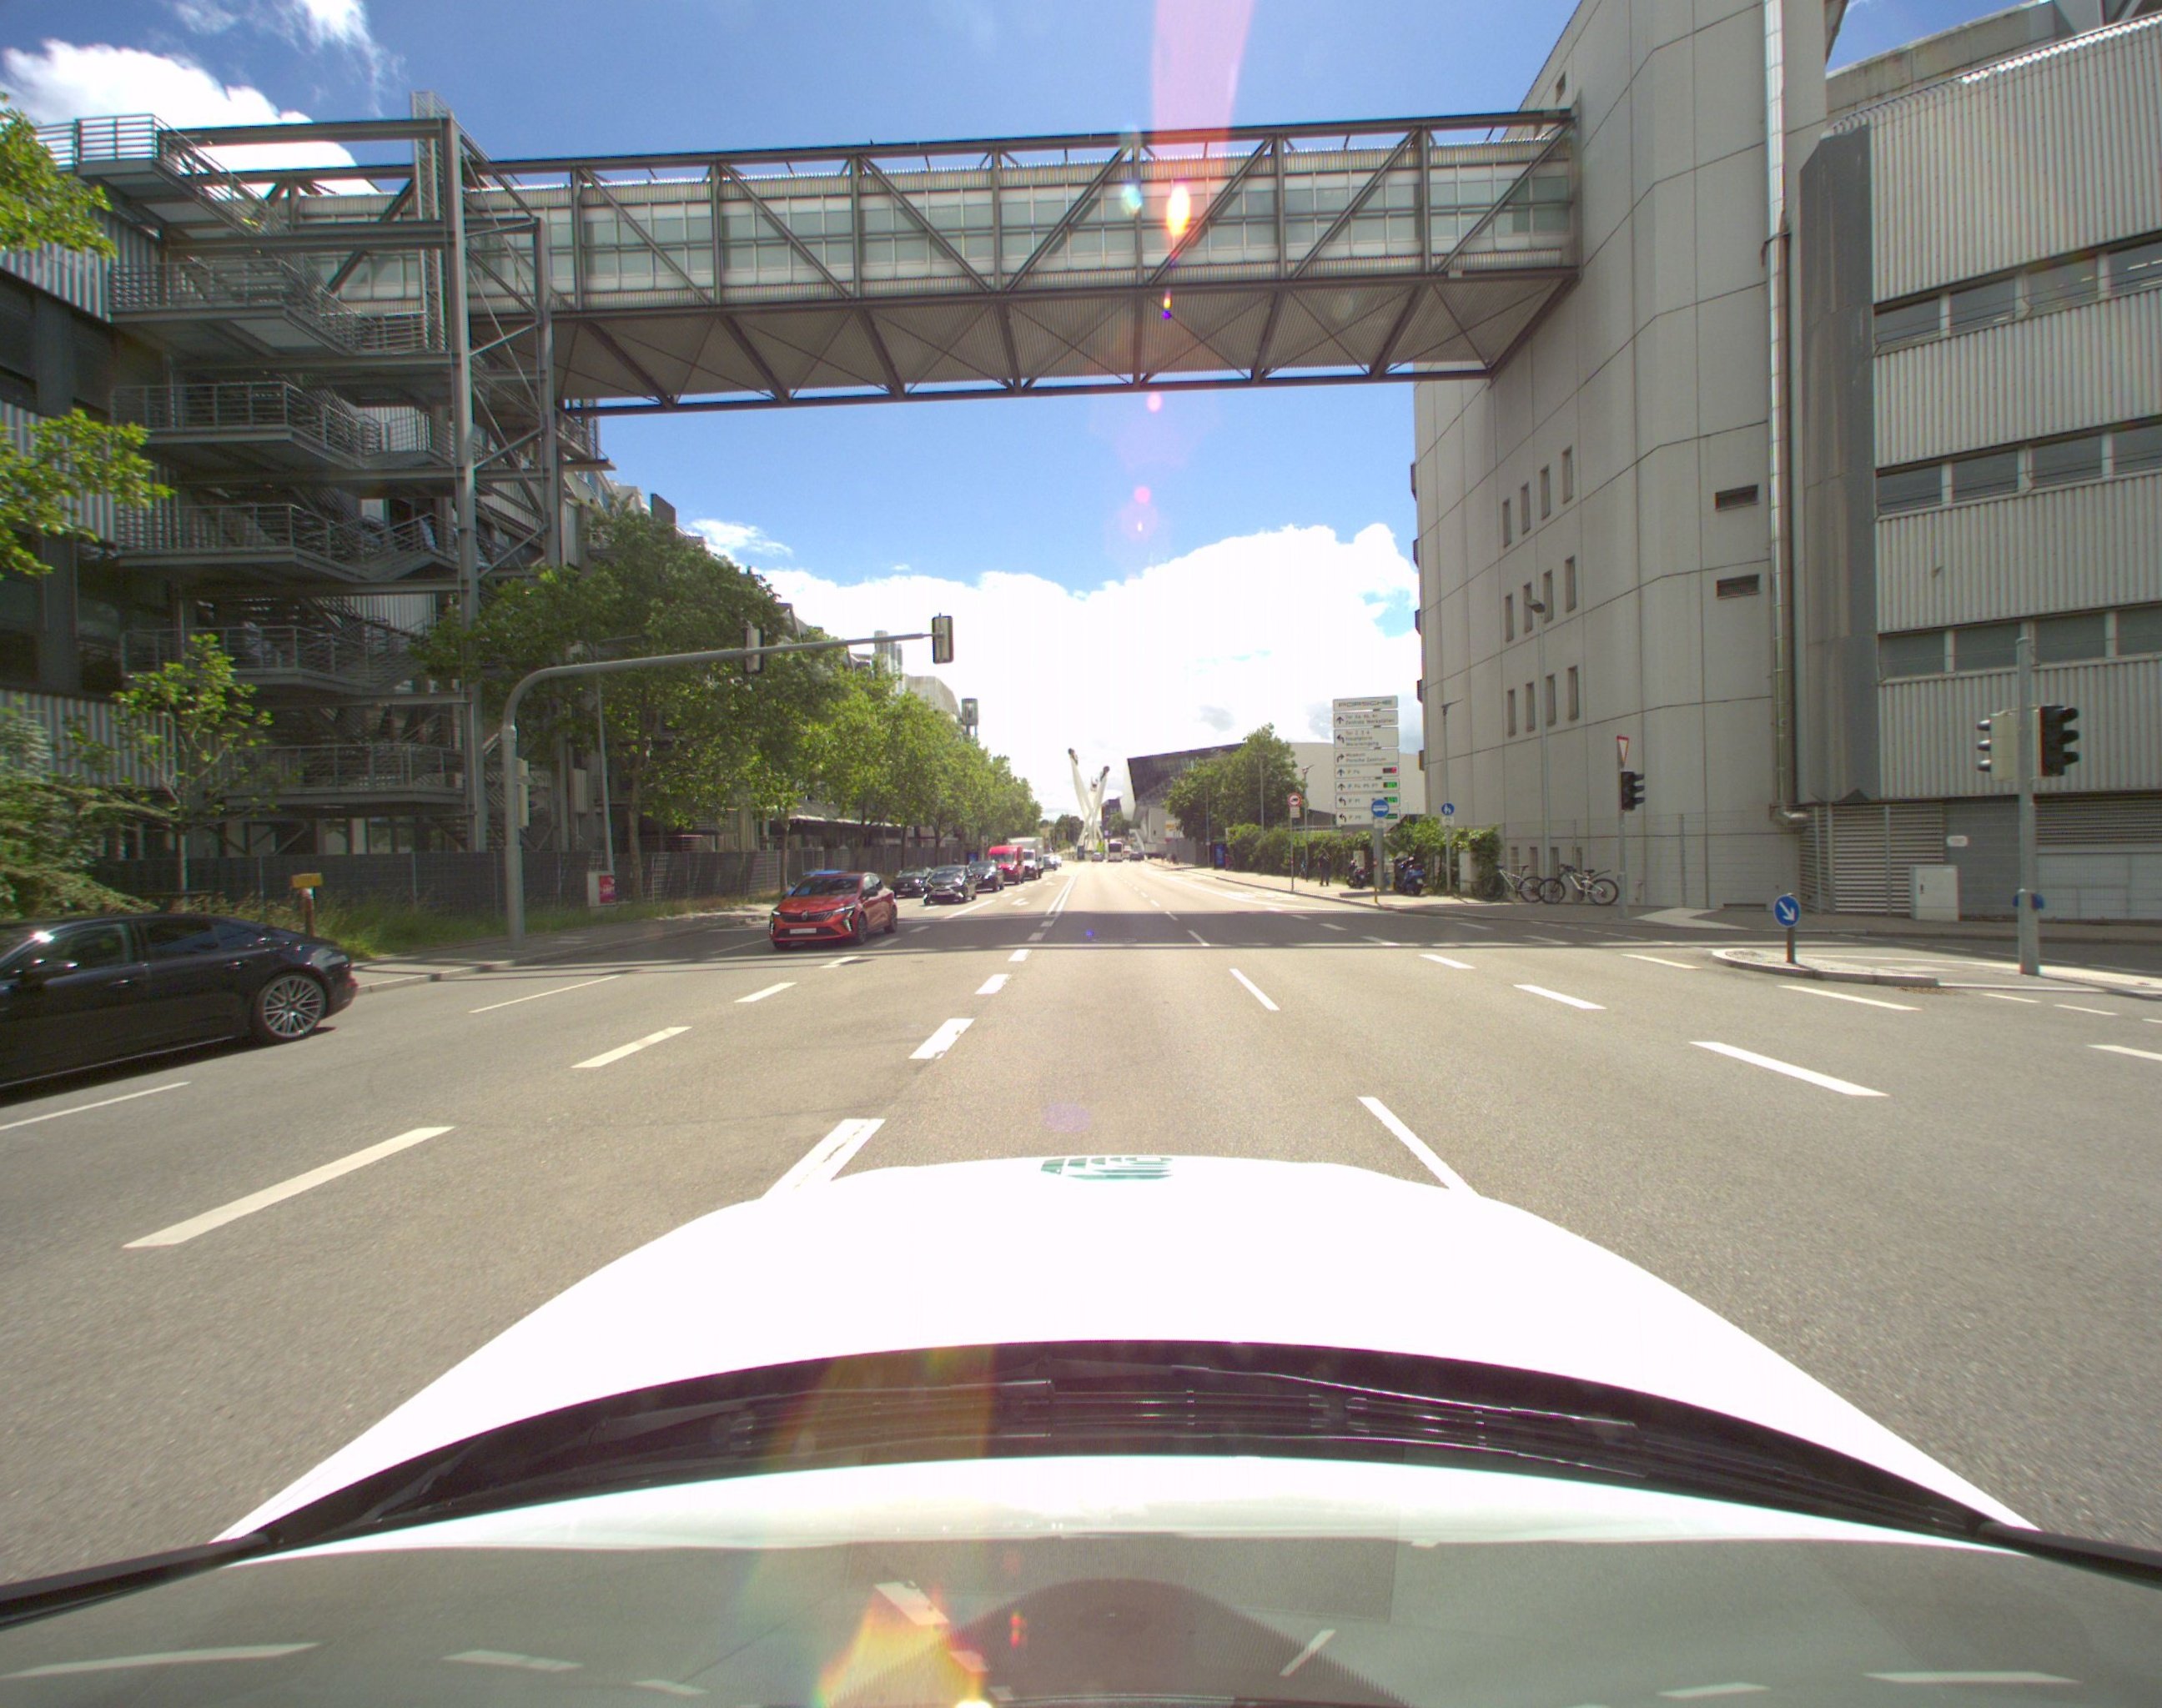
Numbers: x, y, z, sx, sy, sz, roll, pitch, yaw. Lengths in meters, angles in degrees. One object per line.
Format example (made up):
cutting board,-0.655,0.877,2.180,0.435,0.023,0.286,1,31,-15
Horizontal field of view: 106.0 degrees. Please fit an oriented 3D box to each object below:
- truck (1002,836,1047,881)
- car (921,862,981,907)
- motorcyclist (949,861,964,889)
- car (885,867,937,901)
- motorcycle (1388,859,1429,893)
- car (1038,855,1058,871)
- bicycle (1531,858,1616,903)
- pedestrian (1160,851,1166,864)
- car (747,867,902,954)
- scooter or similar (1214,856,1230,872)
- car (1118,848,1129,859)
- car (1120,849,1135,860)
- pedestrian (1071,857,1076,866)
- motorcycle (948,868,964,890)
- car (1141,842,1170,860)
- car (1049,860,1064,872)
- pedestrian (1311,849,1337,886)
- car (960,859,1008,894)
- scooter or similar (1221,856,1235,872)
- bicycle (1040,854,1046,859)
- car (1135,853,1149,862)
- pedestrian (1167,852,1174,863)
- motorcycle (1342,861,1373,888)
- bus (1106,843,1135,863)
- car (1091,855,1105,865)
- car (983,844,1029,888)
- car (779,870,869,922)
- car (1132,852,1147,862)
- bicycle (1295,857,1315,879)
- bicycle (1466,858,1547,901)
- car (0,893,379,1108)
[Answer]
truck,-4.103,0.373,60.712,2.442,3.129,7.249,0,-1,3
car,-4.975,1.136,31.658,1.552,1.505,3.614,-3,0,2
motorcyclist,-7.317,1.232,47.840,0.731,1.622,1.094,0,-1,-2
car,-8.122,1.414,39.259,1.571,1.428,3.920,-3,0,1
motorcycle,11.264,0.742,28.081,0.588,1.067,2.038,-3,0,1
car,-3.493,1.000,87.938,1.733,1.581,4.269,-4,0,2
bicycle,13.111,0.711,21.711,1.862,1.128,0.549,-2,1,36
pedestrian,11.148,0.436,110.926,0.792,1.720,0.732,0,-1,1
car,-5.164,1.078,16.990,1.878,1.454,3.903,-3,-1,0
scooter or similar,11.354,0.792,65.626,0.536,1.163,2.141,-3,0,28
car,9.022,-0.131,171.230,1.983,2.171,4.664,0,-1,7
car,8.992,0.105,157.655,1.979,1.932,4.257,-1,-1,14
pedestrian,-1.526,1.407,161.655,0.864,1.774,1.031,0,-1,-12
motorcycle,-7.341,1.441,47.901,0.672,1.220,2.374,0,-1,-2
car,15.024,-0.485,163.101,3.307,3.504,9.389,-1,-1,20
car,-3.167,1.561,107.288,1.685,1.415,4.147,-3,0,2
pedestrian,11.126,0.612,37.281,0.807,1.645,0.997,-3,-1,-1
car,-4.851,1.081,41.180,1.729,1.684,4.216,0,-1,2
scooter or similar,11.679,0.772,64.794,0.536,1.163,1.803,-3,0,28
bicycle,-10.832,0.636,232.991,1.600,1.316,0.493,0,-1,0
car,11.058,0.632,147.540,1.979,1.636,4.015,-1,-1,14
pedestrian,12.195,0.487,110.897,0.792,1.597,0.732,0,-1,1
motorcycle,11.519,0.849,33.948,0.588,1.067,2.038,-3,0,1
bus,6.862,-0.136,139.800,3.051,3.362,12.262,-1,-1,12
car,2.882,1.014,135.904,1.983,1.636,4.007,0,-1,6
car,-4.680,0.717,51.540,2.055,2.507,5.482,-3,0,2
car,-8.407,1.331,26.970,1.687,1.429,3.822,-2,0,0
car,10.036,0.499,139.612,1.979,1.636,4.016,-1,1,14
bicycle,12.245,0.773,44.531,0.441,1.180,2.469,0,-1,1
bicycle,12.179,0.737,23.347,1.944,1.128,0.549,-3,0,36
car,-8.978,1.208,6.817,1.987,1.454,4.768,-3,-1,0
